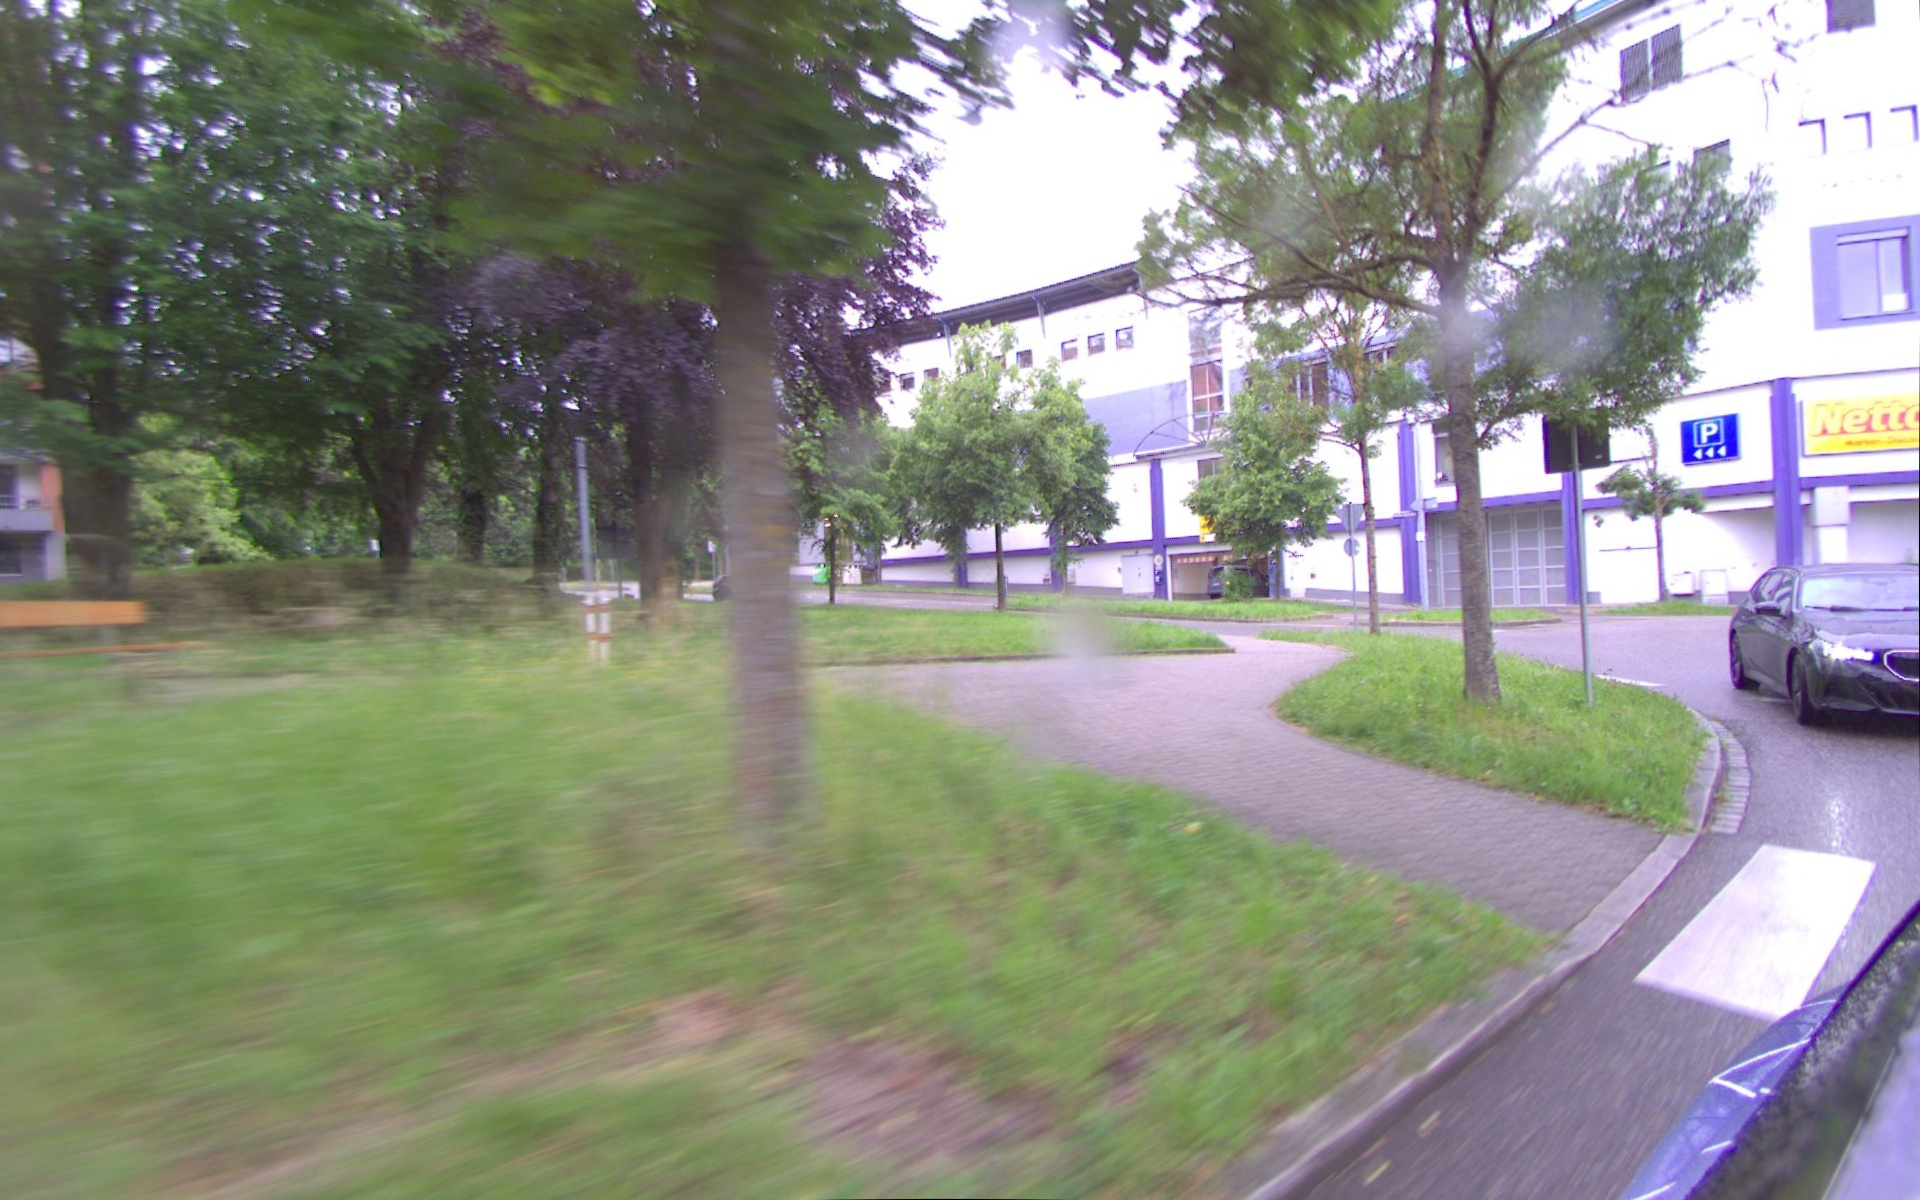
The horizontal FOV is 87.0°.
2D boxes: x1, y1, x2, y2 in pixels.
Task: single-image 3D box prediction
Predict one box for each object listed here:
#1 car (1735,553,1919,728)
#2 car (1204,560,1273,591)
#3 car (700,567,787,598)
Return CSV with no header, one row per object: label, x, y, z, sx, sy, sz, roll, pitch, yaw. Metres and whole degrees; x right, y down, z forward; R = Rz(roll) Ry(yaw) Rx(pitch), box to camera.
car,9.551,0.294,10.457,1.830,1.498,3.961,-1,2,29
car,14.784,-1.321,53.688,3.335,1.604,1.438,-1,2,-21
car,-10.528,-0.864,49.236,3.964,1.427,1.782,1,2,29
